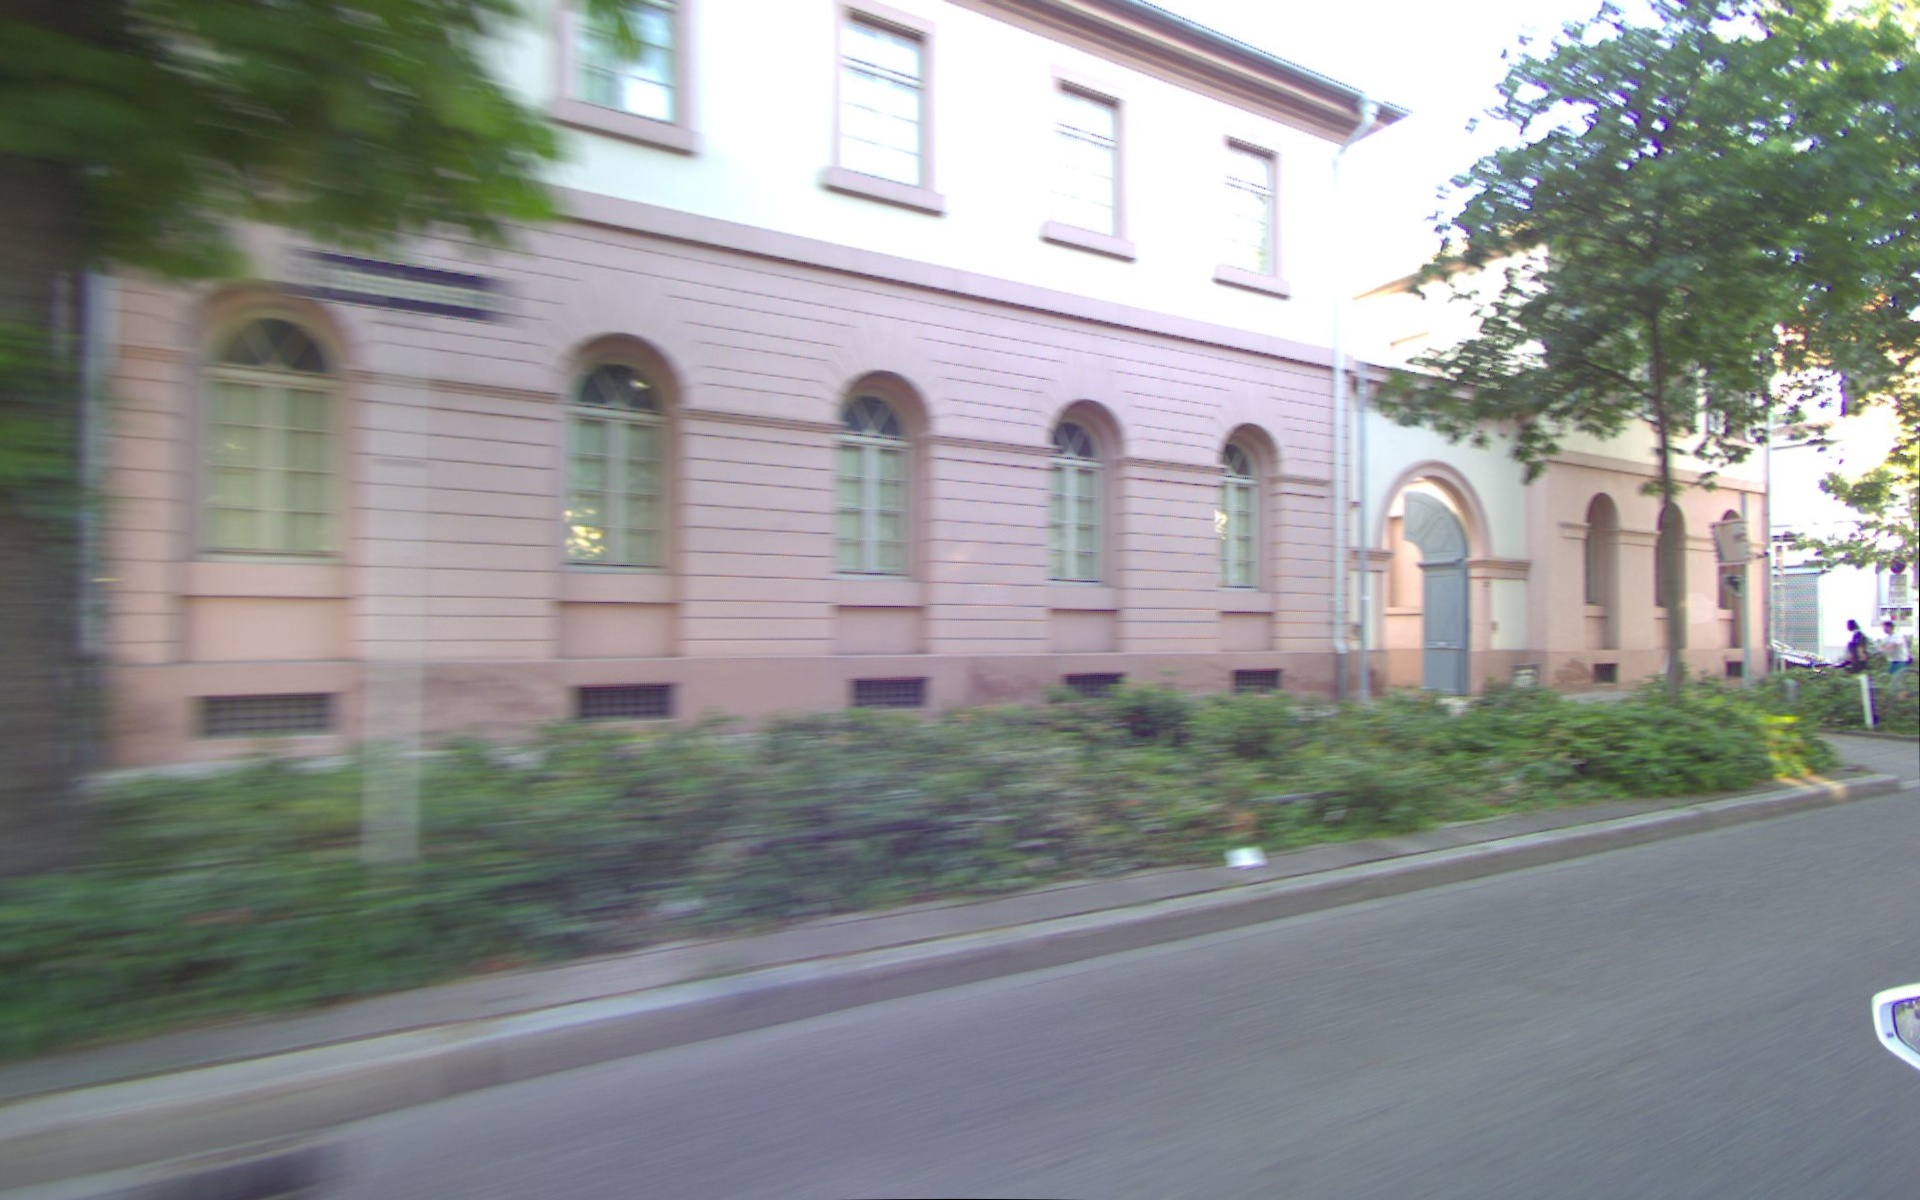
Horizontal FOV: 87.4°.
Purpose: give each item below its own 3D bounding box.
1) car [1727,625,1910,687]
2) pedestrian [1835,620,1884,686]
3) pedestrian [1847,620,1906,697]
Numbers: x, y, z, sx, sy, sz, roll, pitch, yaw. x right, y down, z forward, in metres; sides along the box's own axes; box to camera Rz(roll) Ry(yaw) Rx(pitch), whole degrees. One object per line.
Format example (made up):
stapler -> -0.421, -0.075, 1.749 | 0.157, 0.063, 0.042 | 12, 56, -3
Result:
car -> 22.566, 1.453, 26.540 | 1.443, 1.524, 3.380 | 1, -2, -28
pedestrian -> 19.878, 1.159, 22.205 | 0.600, 1.413, 0.652 | 1, -1, -29
pedestrian -> 20.644, 1.309, 22.632 | 0.827, 1.686, 0.715 | 1, -2, -27
